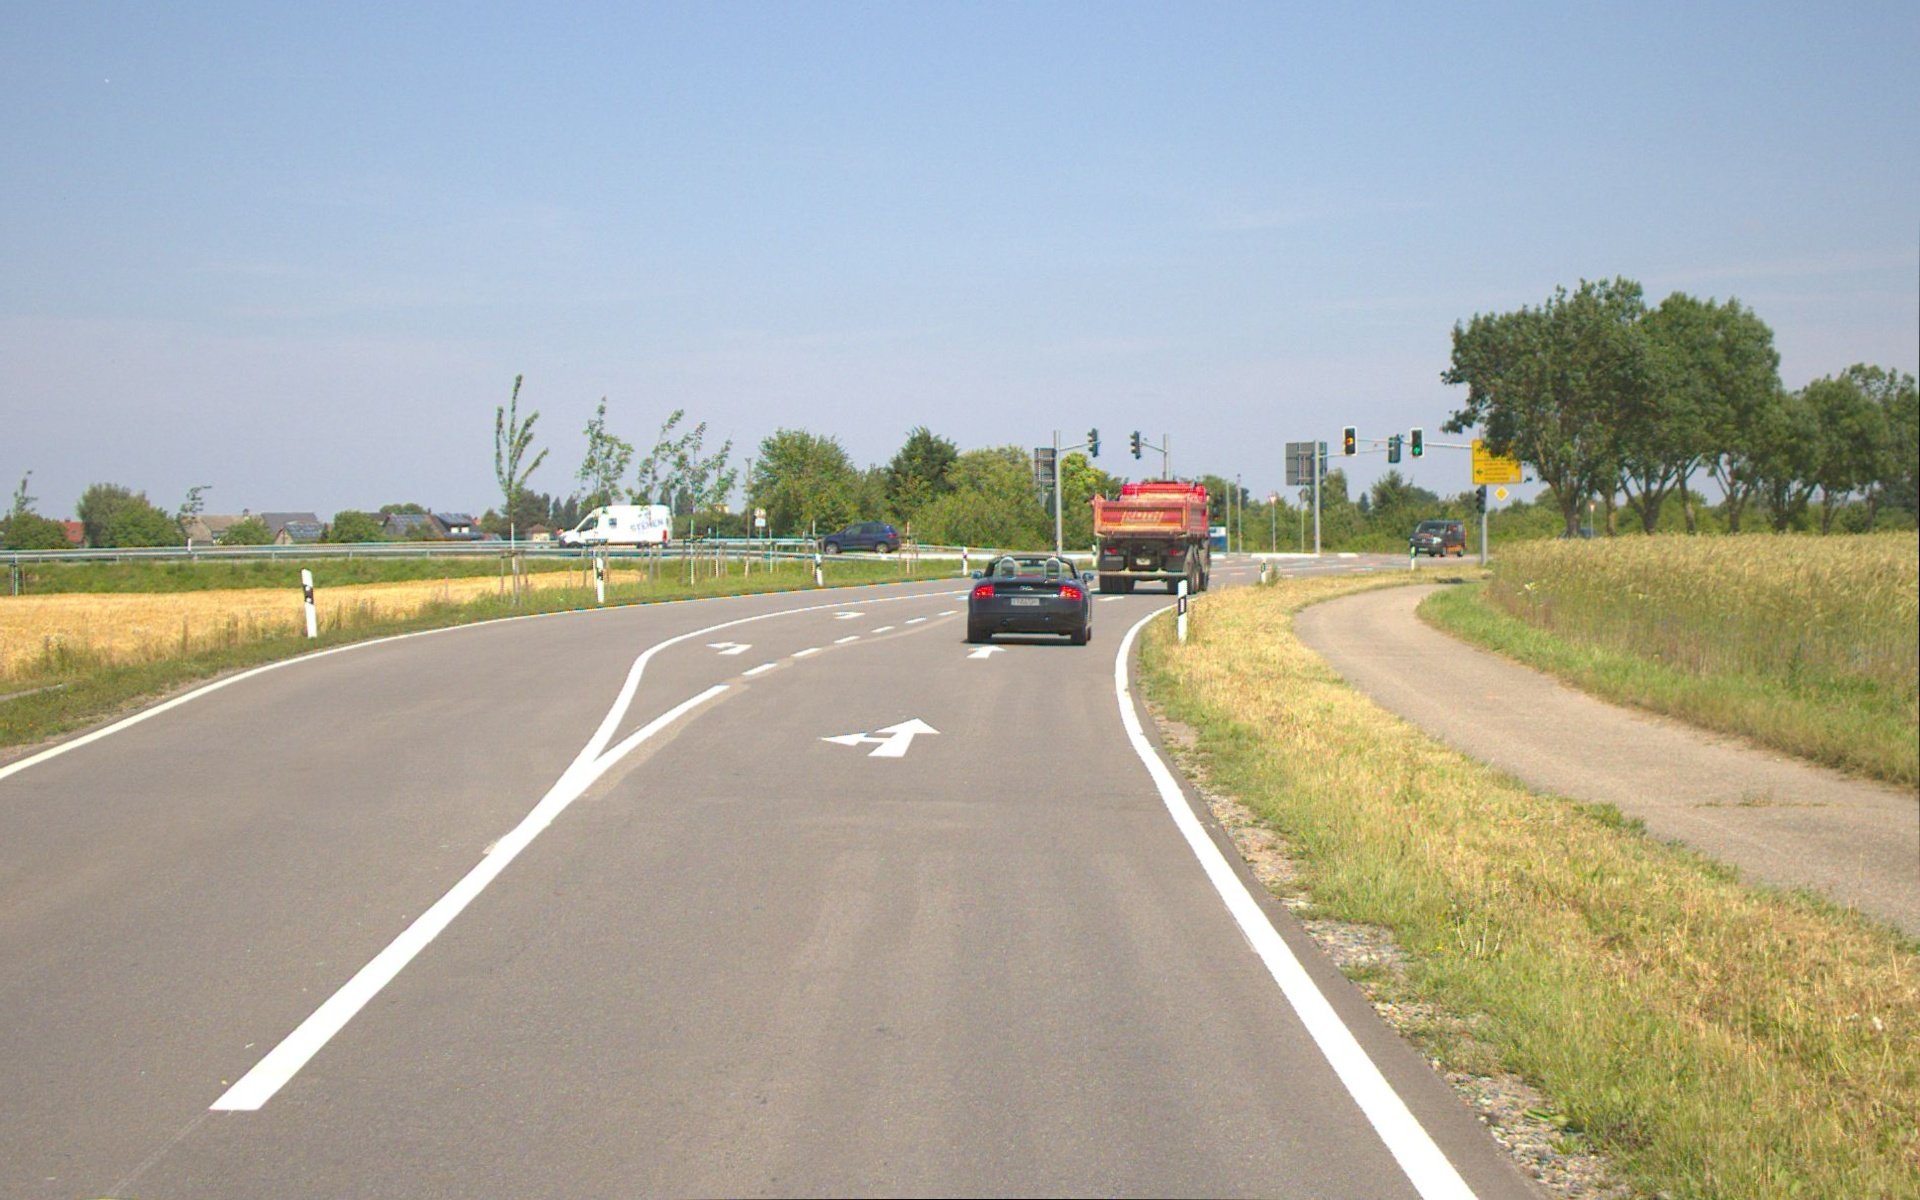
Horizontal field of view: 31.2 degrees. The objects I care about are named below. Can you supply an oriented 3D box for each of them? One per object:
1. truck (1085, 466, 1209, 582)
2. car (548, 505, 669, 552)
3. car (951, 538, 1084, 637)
[{"bbox_3d":[5.213,-2.021,94.598,2.715,3.042,8.162,0,0,8],"label":"truck"},{"bbox_3d":[-18.305,-3.756,179.249,5.919,2.413,2.247,0,1,6],"label":"car"},{"bbox_3d":[0.879,-0.189,50.895,1.748,1.371,3.678,1,0,4],"label":"car"}]
